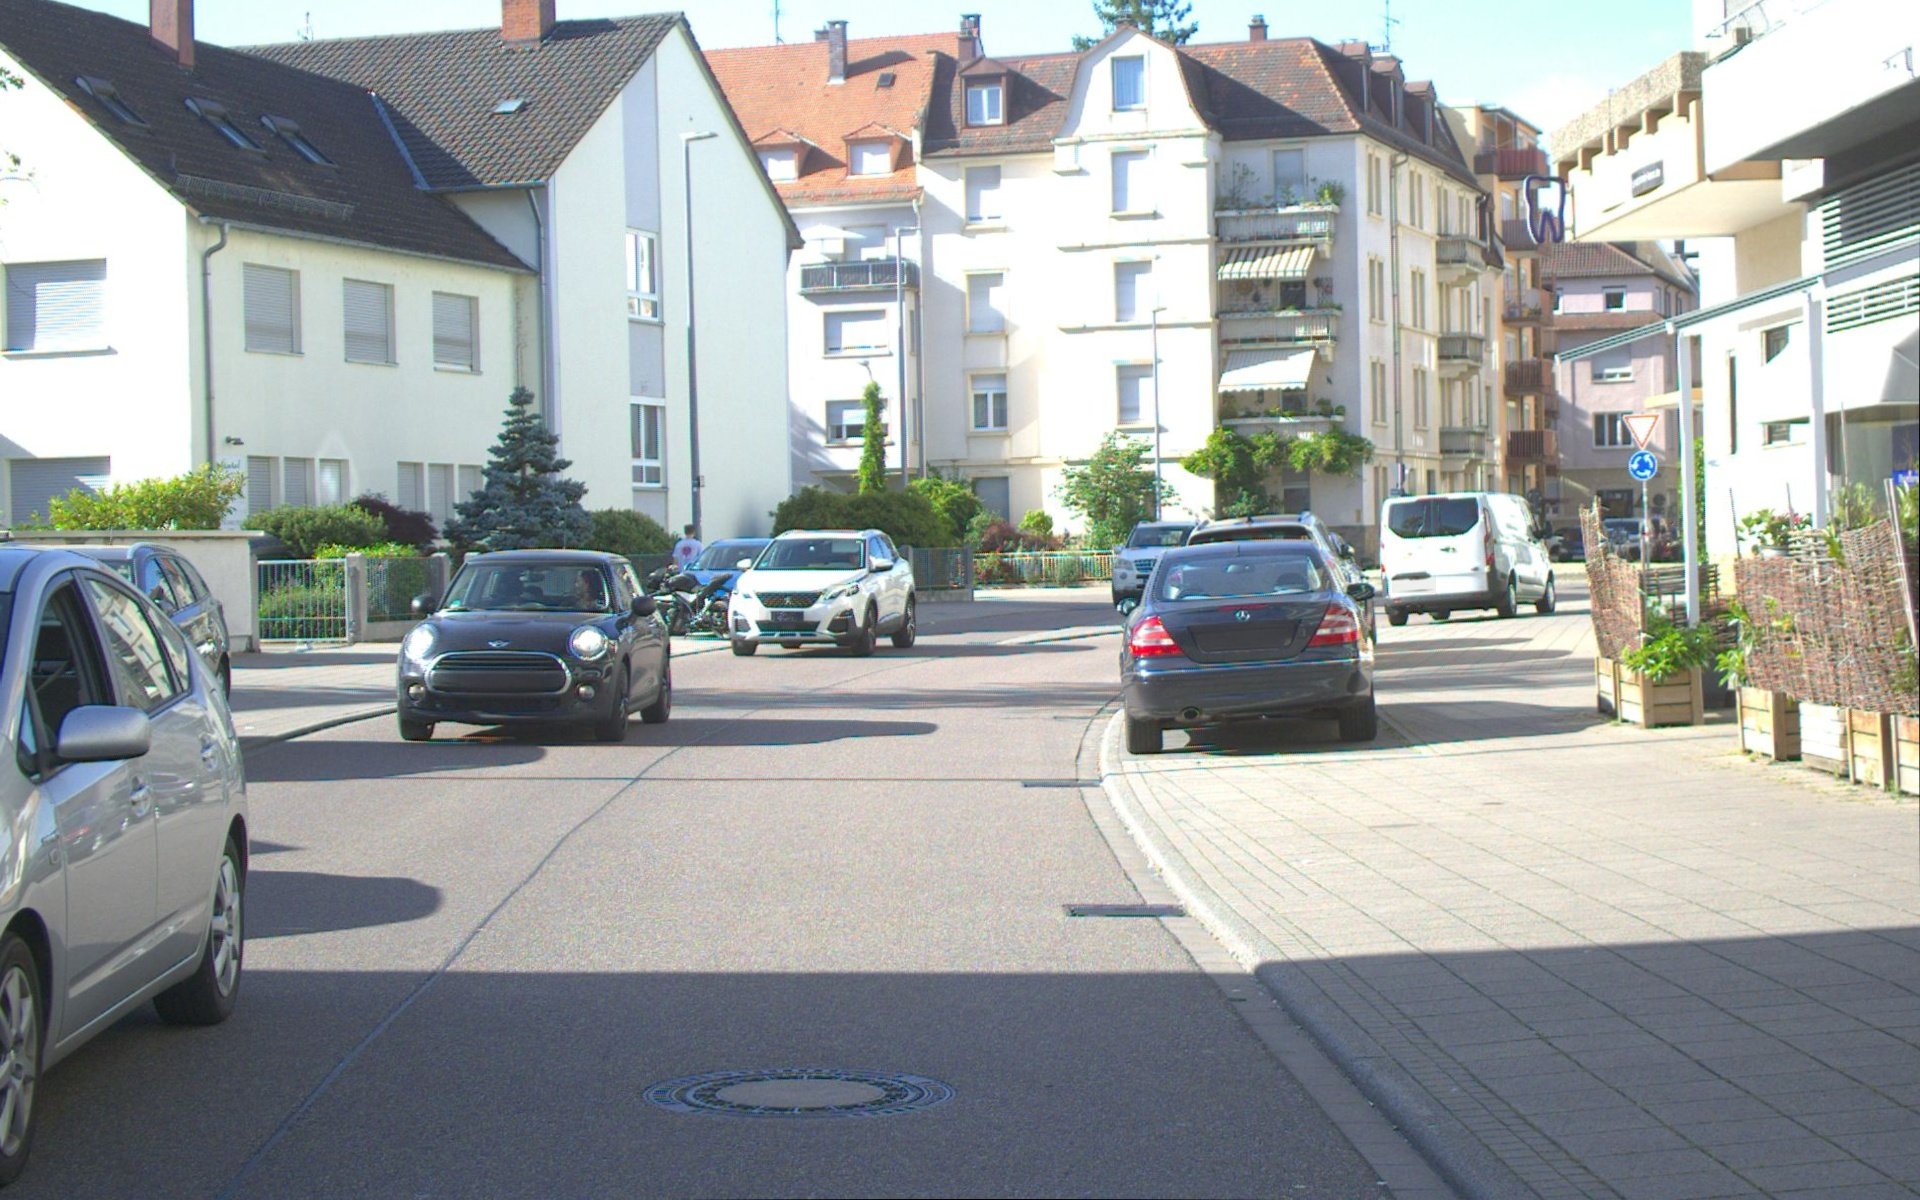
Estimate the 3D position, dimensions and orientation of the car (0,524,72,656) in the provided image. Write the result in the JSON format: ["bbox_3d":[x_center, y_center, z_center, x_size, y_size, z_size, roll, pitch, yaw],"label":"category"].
[{"bbox_3d":[-12.334,-0.114,41.077,1.802,1.550,3.185,-1,-1,22],"label":"car"}]

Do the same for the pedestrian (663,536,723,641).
[{"bbox_3d":[-4.370,-0.180,56.322,0.683,1.698,0.823,-1,-2,20],"label":"pedestrian"}]

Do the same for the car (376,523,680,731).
[{"bbox_3d":[-3.320,0.250,27.095,1.740,1.507,3.729,0,-2,3],"label":"car"}]

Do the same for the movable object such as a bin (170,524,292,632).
[{"bbox_3d":[-10.426,-0.306,49.193,1.283,1.485,1.226,-1,-1,15],"label":"movable object such as a bin"}]

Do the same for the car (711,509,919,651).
[{"bbox_3d":[-1.856,-0.219,45.343,1.920,1.719,4.335,-1,-1,9],"label":"car"}]

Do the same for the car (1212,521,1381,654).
[{"bbox_3d":[4.064,-0.187,41.011,1.718,1.404,4.313,-3,1,9],"label":"car"}]

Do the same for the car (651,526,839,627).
[{"bbox_3d":[-3.256,-0.398,52.897,1.798,1.468,4.328,0,2,12],"label":"car"}]

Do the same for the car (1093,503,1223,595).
[{"bbox_3d":[4.112,-1.066,70.808,1.990,1.779,4.517,-1,1,12],"label":"car"}]

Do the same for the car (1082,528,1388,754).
[{"bbox_3d":[2.048,0.252,24.928,1.971,1.445,5.002,-1,0,6],"label":"car"}]

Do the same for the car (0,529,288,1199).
[{"bbox_3d":[-3.011,0.566,9.010,1.726,1.480,4.106,-1,1,-1],"label":"car"}]

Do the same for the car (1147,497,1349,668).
[{"bbox_3d":[3.106,-0.127,36.335,1.818,1.648,4.558,-1,-1,8],"label":"car"}]

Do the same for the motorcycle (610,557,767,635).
[{"bbox_3d":[-3.948,-0.063,49.974,2.060,1.015,0.946,3,3,24],"label":"motorcycle"}]

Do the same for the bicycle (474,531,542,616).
[{"bbox_3d":[-6.974,-0.395,53.116,0.456,1.246,1.927,-1,-1,10],"label":"bicycle"}]

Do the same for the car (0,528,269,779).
[{"bbox_3d":[-6.150,0.288,23.649,1.993,1.529,4.919,-1,1,-3],"label":"car"}]

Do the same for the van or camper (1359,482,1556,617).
[{"bbox_3d":[7.927,-0.821,54.429,2.022,1.940,4.698,-3,1,21],"label":"van or camper"}]
